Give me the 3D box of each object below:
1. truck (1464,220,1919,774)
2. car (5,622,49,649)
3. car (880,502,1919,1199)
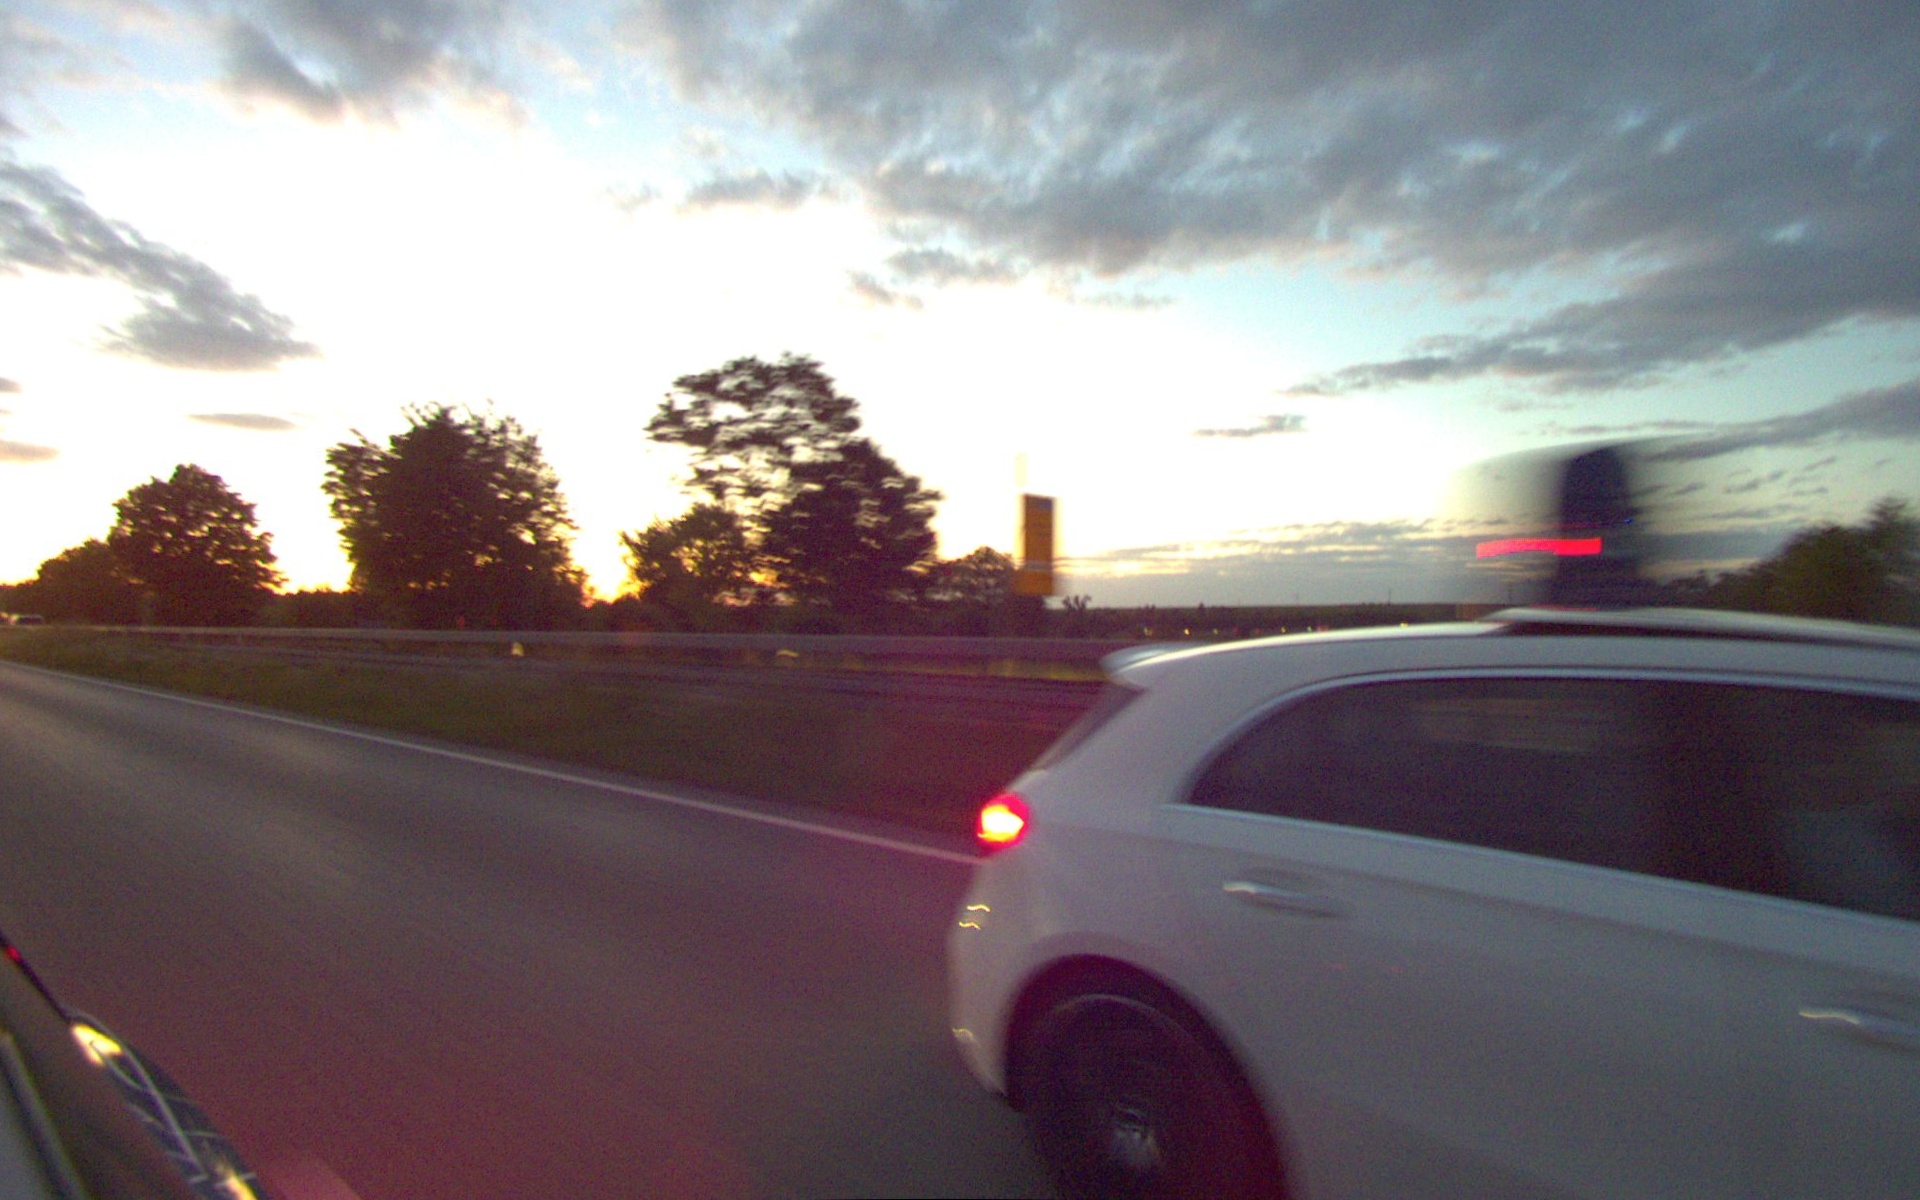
[{"bbox_3d":[11.932,-1.003,9.384,12.601,5.296,3.169,-1,-1,41],"label":"truck"},{"bbox_3d":[-74.991,2.815,81.317,5.343,2.115,1.945,-1,0,40],"label":"car"},{"bbox_3d":[2.056,0.610,1.777,4.576,1.501,1.625,-1,0,40],"label":"car"}]
